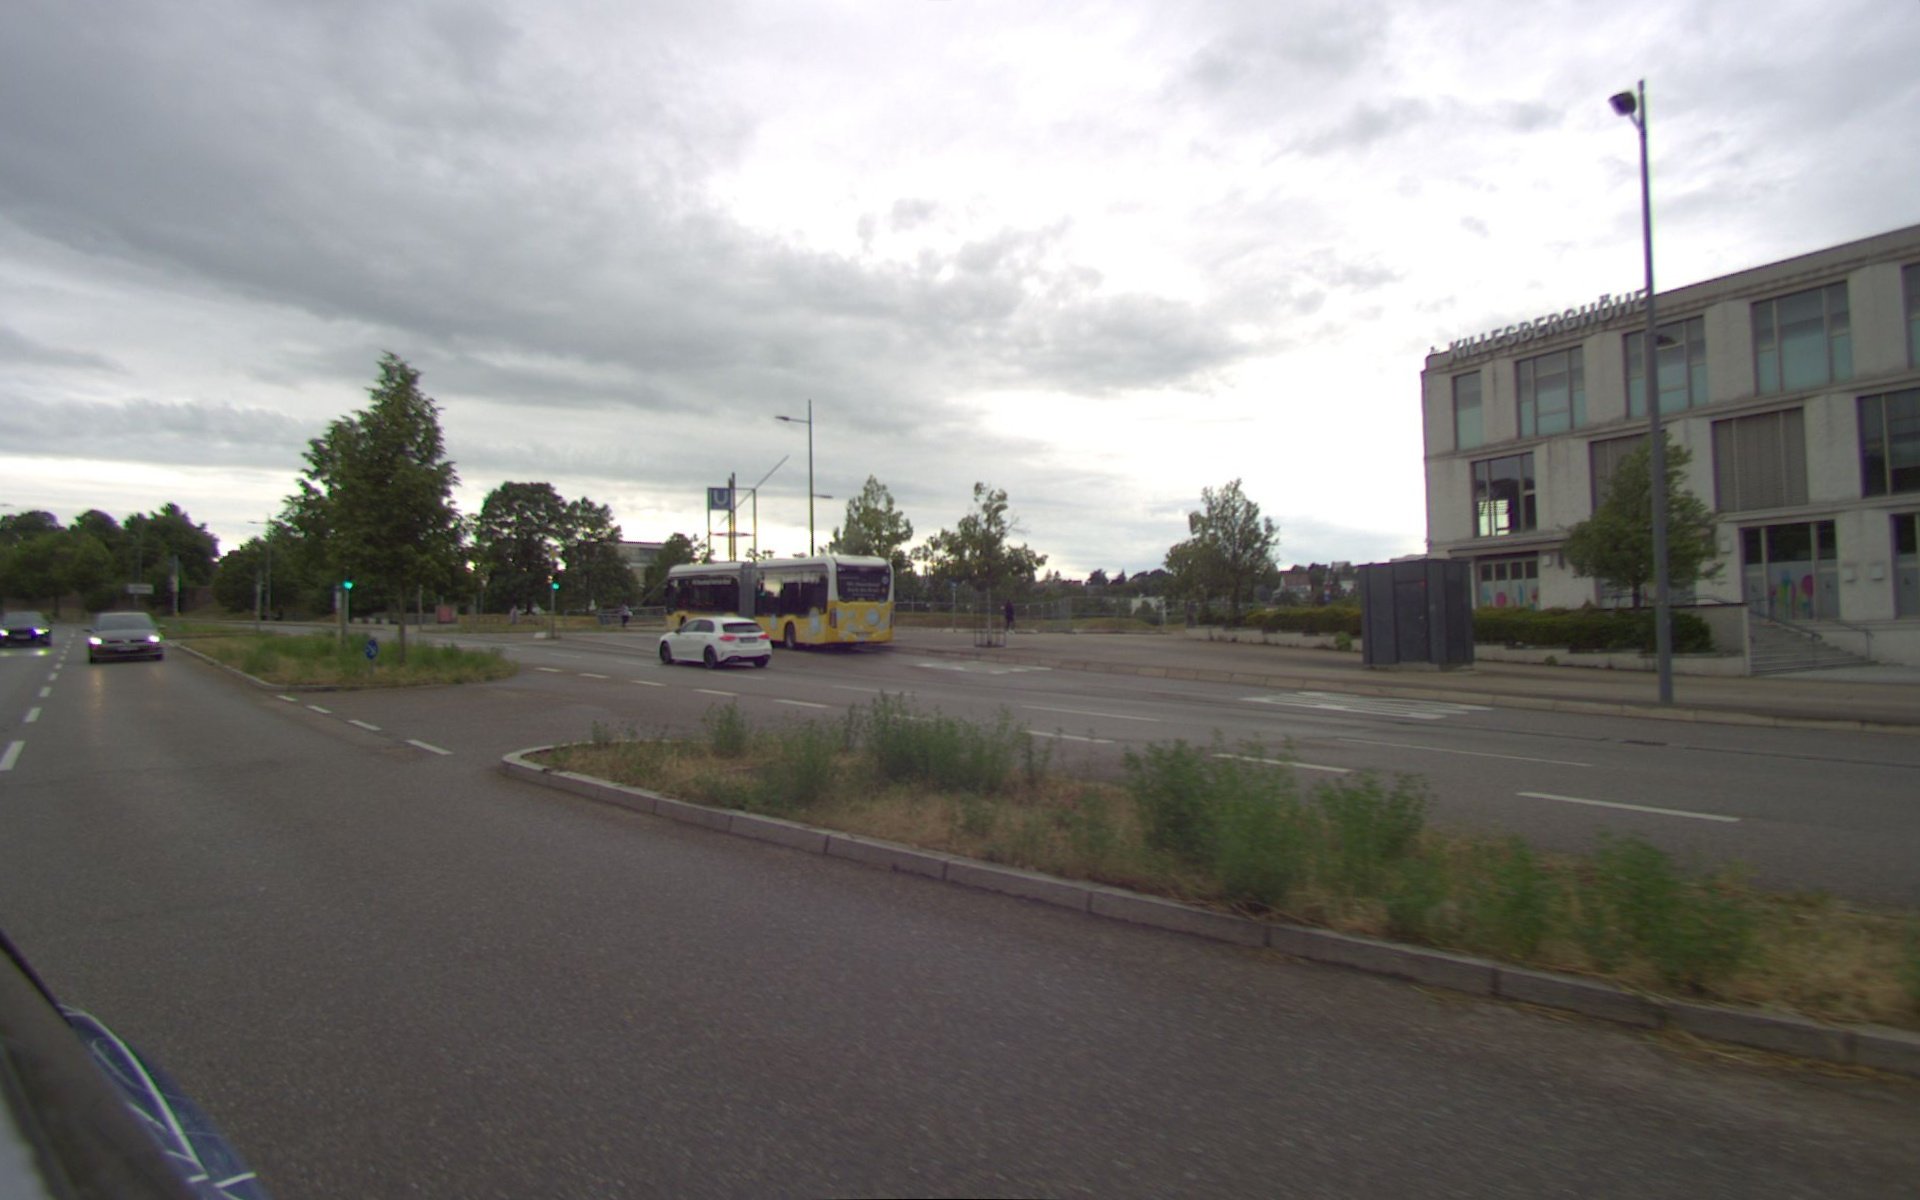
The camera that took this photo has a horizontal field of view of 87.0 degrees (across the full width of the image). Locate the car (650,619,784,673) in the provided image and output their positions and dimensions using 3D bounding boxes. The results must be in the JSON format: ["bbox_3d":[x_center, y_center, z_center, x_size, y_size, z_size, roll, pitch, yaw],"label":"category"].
[{"bbox_3d":[-7.149,1.274,29.486,1.969,1.429,4.519,0,-1,-41],"label":"car"}]

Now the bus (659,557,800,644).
[{"bbox_3d":[-10.622,-0.011,45.563,2.783,3.498,10.001,-1,1,-34],"label":"bus"}]

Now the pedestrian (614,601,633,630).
[{"bbox_3d":[-19.589,0.905,58.890,0.670,1.606,0.814,-3,-3,27],"label":"pedestrian"}]

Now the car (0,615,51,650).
[{"bbox_3d":[-39.999,1.416,42.892,4.178,1.410,1.962,-3,-3,45],"label":"car"}]

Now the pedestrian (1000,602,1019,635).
[{"bbox_3d":[2.355,0.891,48.130,0.665,1.541,0.484,-4,-3,44],"label":"pedestrian"}]

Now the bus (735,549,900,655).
[{"bbox_3d":[-5.549,0.029,37.874,2.783,3.498,8.253,-1,1,-34],"label":"bus"}]

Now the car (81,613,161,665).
[{"bbox_3d":[-25.777,1.171,31.053,1.783,1.440,4.203,0,-1,-41],"label":"car"}]

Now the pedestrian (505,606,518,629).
[{"bbox_3d":[-32.180,1.229,72.570,0.813,1.606,0.607,-4,-3,44],"label":"pedestrian"}]
